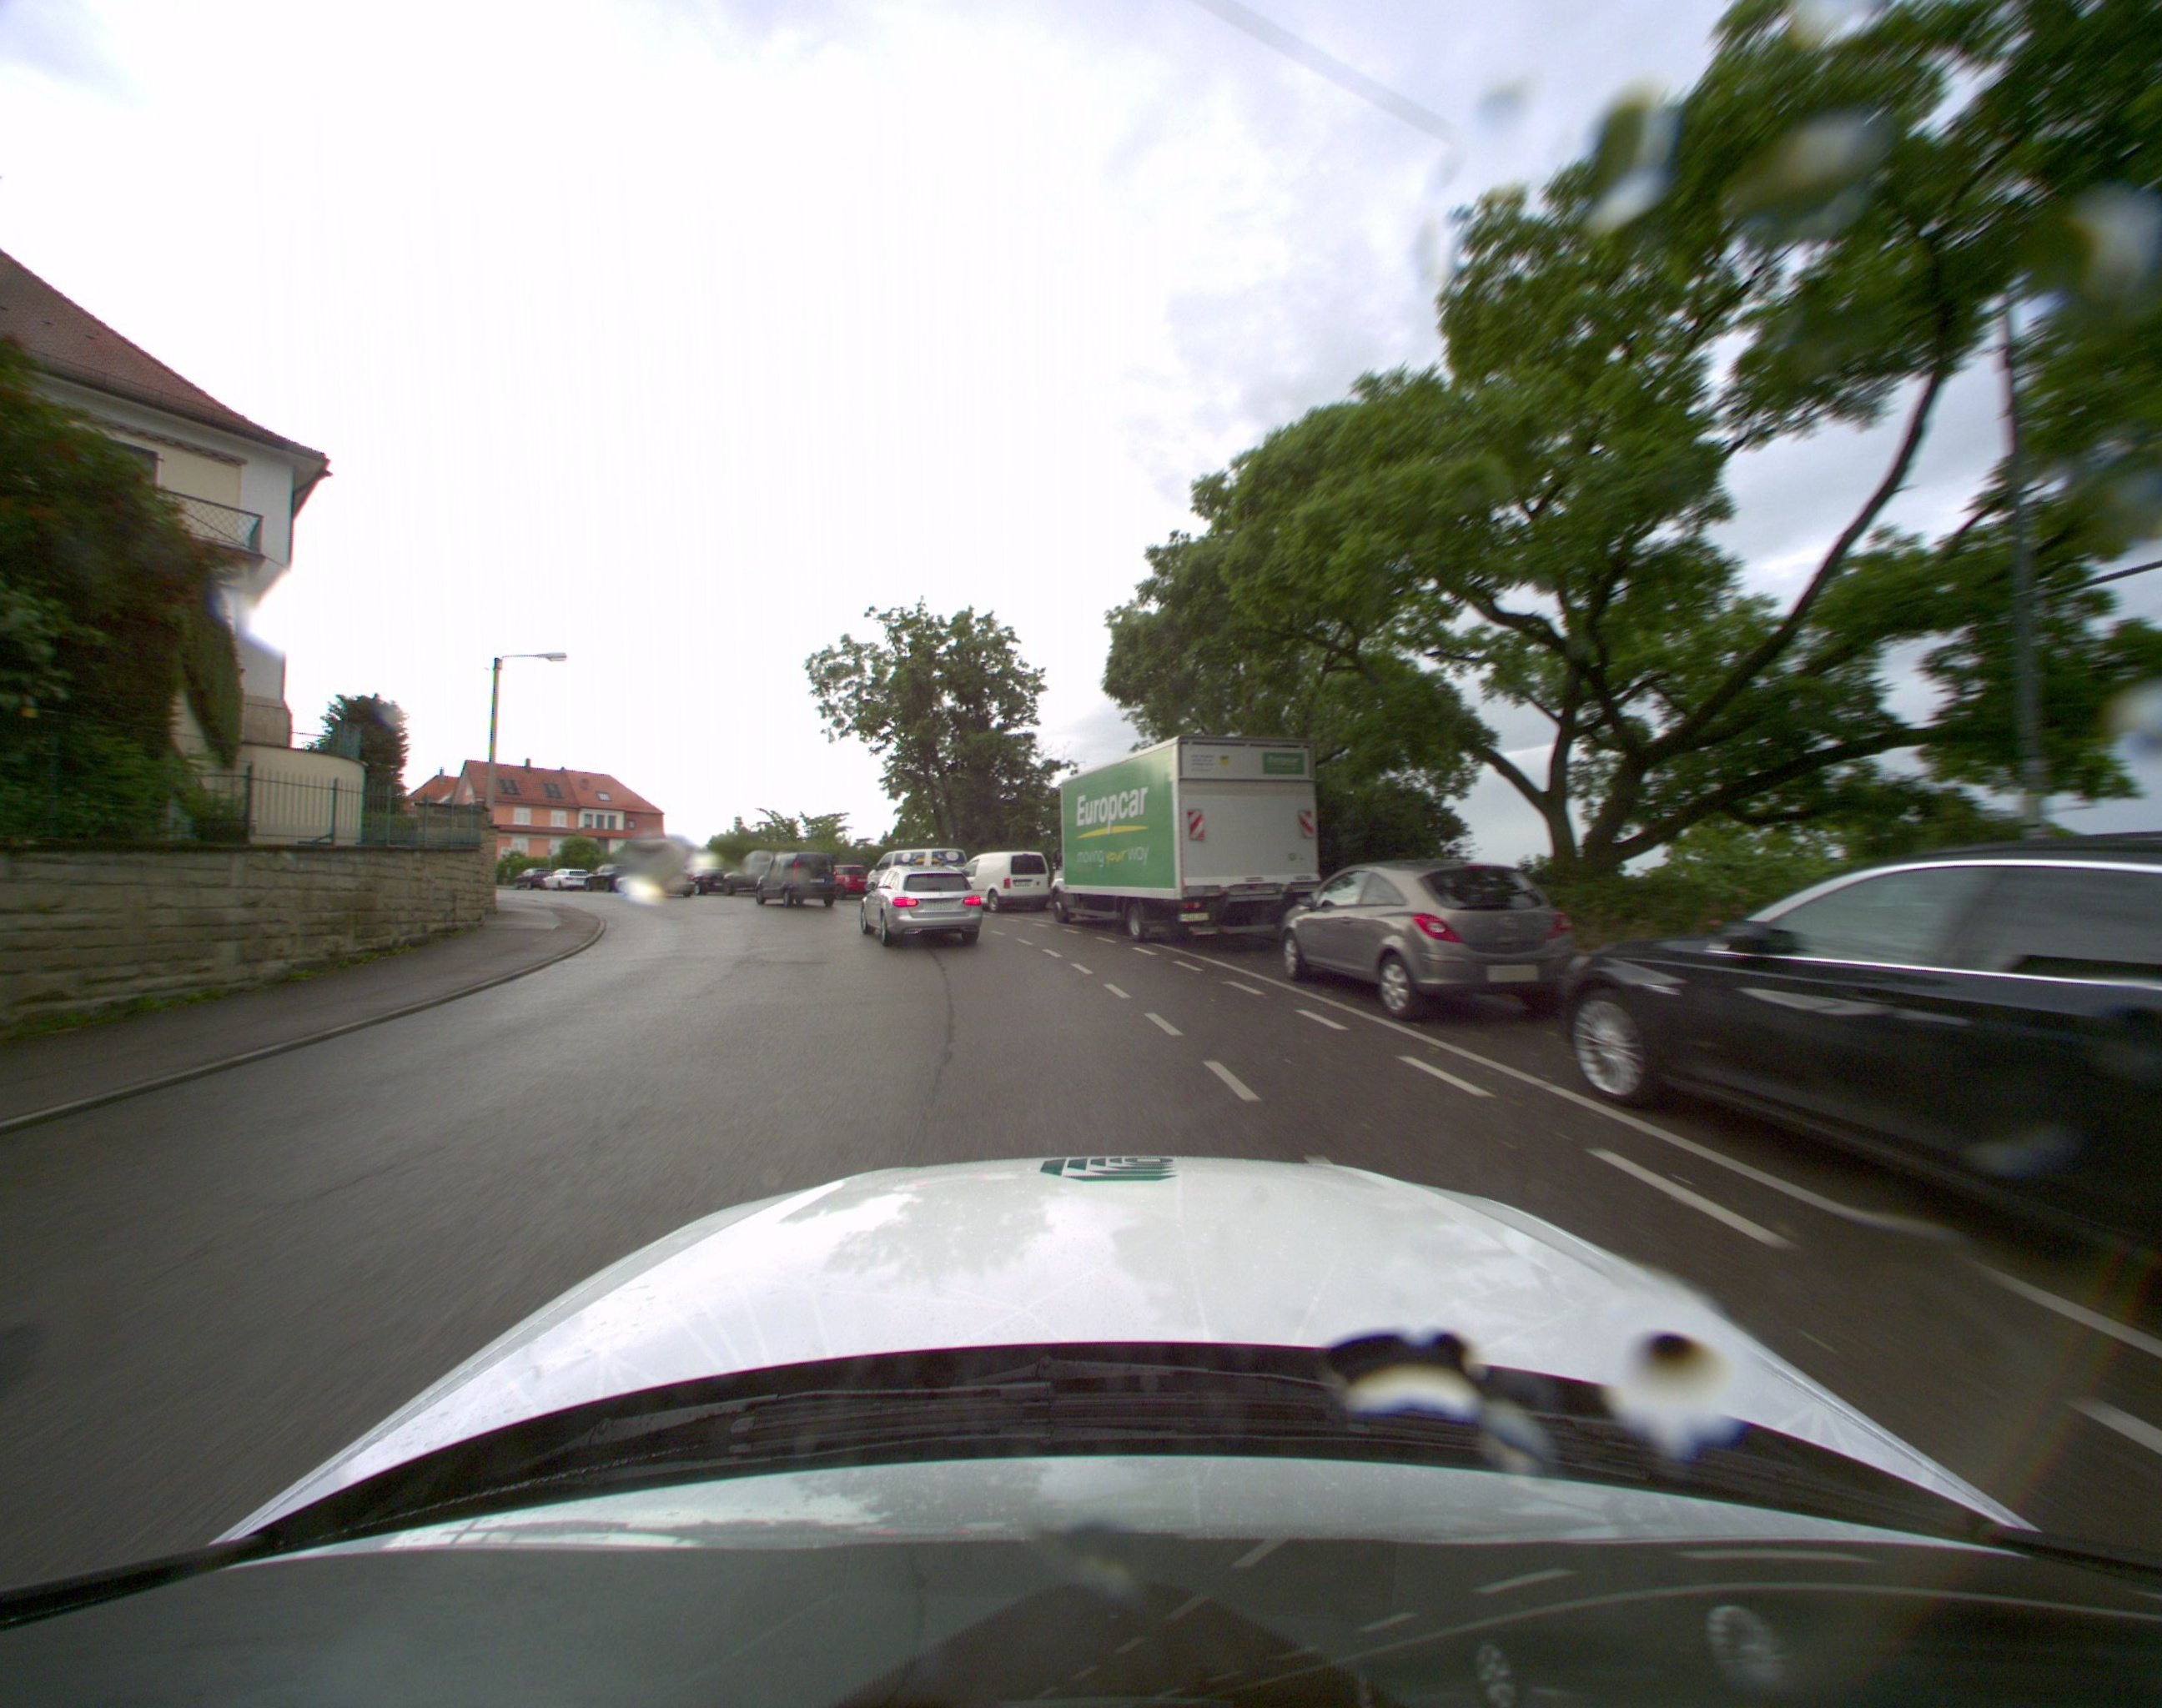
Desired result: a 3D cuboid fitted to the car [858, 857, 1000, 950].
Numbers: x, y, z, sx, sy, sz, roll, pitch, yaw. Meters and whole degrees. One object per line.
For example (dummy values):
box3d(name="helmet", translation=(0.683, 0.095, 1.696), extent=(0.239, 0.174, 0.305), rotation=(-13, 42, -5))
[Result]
box3d(name="car", translation=(-3.172, 0.874, 16.223), extent=(1.990, 1.554, 4.266), rotation=(-1, -1, -22))

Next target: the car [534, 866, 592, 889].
box3d(name="car", translation=(-33.773, 1.500, 53.093), extent=(4.548, 1.406, 1.729), rotation=(-1, -4, 38))

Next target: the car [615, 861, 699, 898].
box3d(name="car", translation=(-18.638, 1.120, 35.705), extent=(4.042, 1.458, 1.871), rotation=(-3, -1, 41))

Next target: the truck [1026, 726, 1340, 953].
box3d(name="truck", translation=(1.426, -0.223, 17.088), extent=(2.783, 3.470, 8.874), rotation=(-2, 0, -19))

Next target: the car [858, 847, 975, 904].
box3d(name="car", translation=(-6.211, 0.772, 30.423), extent=(4.747, 1.948, 1.877), rotation=(-1, -1, 44))

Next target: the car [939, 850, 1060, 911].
box3d(name="car", translation=(-2.655, 0.786, 25.670), extent=(1.874, 1.770, 4.330), rotation=(0, -1, -36))

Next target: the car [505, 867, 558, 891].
box3d(name="car", translation=(-38.135, 1.748, 56.504), extent=(4.151, 1.530, 1.770), rotation=(-2, -4, 38))

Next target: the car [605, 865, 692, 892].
box3d(name="car", translation=(-24.174, 1.359, 45.508), extent=(4.585, 1.440, 1.815), rotation=(0, -3, 25))

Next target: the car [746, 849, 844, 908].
box3d(name="car", translation=(-10.075, 0.838, 28.500), extent=(1.840, 1.882, 4.046), rotation=(-2, 0, -41))

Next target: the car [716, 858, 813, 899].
box3d(name="car", translation=(-14.872, 1.130, 38.146), extent=(4.835, 1.783, 2.046), rotation=(0, -2, 39))

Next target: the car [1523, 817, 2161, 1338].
box3d(name="car", translation=(4.103, 0.645, 3.370), extent=(1.854, 1.542, 4.893), rotation=(-1, 0, -1))

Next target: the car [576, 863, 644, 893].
box3d(name="car", translation=(-28.306, 1.440, 48.904), extent=(4.489, 1.663, 1.905), rotation=(-1, -4, 37))

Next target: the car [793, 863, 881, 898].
box3d(name="car", translation=(-10.425, 1.091, 34.712), extent=(3.694, 1.414, 1.687), rotation=(-1, -2, 37))

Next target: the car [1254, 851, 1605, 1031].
box3d(name="car", translation=(3.531, 0.757, 9.211), extent=(1.733, 1.503, 4.123), rotation=(-2, 0, -9))

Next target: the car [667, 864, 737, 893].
box3d(name="car", translation=(-19.348, 1.256, 41.534), extent=(3.932, 1.422, 1.704), rotation=(-2, -3, 40))
